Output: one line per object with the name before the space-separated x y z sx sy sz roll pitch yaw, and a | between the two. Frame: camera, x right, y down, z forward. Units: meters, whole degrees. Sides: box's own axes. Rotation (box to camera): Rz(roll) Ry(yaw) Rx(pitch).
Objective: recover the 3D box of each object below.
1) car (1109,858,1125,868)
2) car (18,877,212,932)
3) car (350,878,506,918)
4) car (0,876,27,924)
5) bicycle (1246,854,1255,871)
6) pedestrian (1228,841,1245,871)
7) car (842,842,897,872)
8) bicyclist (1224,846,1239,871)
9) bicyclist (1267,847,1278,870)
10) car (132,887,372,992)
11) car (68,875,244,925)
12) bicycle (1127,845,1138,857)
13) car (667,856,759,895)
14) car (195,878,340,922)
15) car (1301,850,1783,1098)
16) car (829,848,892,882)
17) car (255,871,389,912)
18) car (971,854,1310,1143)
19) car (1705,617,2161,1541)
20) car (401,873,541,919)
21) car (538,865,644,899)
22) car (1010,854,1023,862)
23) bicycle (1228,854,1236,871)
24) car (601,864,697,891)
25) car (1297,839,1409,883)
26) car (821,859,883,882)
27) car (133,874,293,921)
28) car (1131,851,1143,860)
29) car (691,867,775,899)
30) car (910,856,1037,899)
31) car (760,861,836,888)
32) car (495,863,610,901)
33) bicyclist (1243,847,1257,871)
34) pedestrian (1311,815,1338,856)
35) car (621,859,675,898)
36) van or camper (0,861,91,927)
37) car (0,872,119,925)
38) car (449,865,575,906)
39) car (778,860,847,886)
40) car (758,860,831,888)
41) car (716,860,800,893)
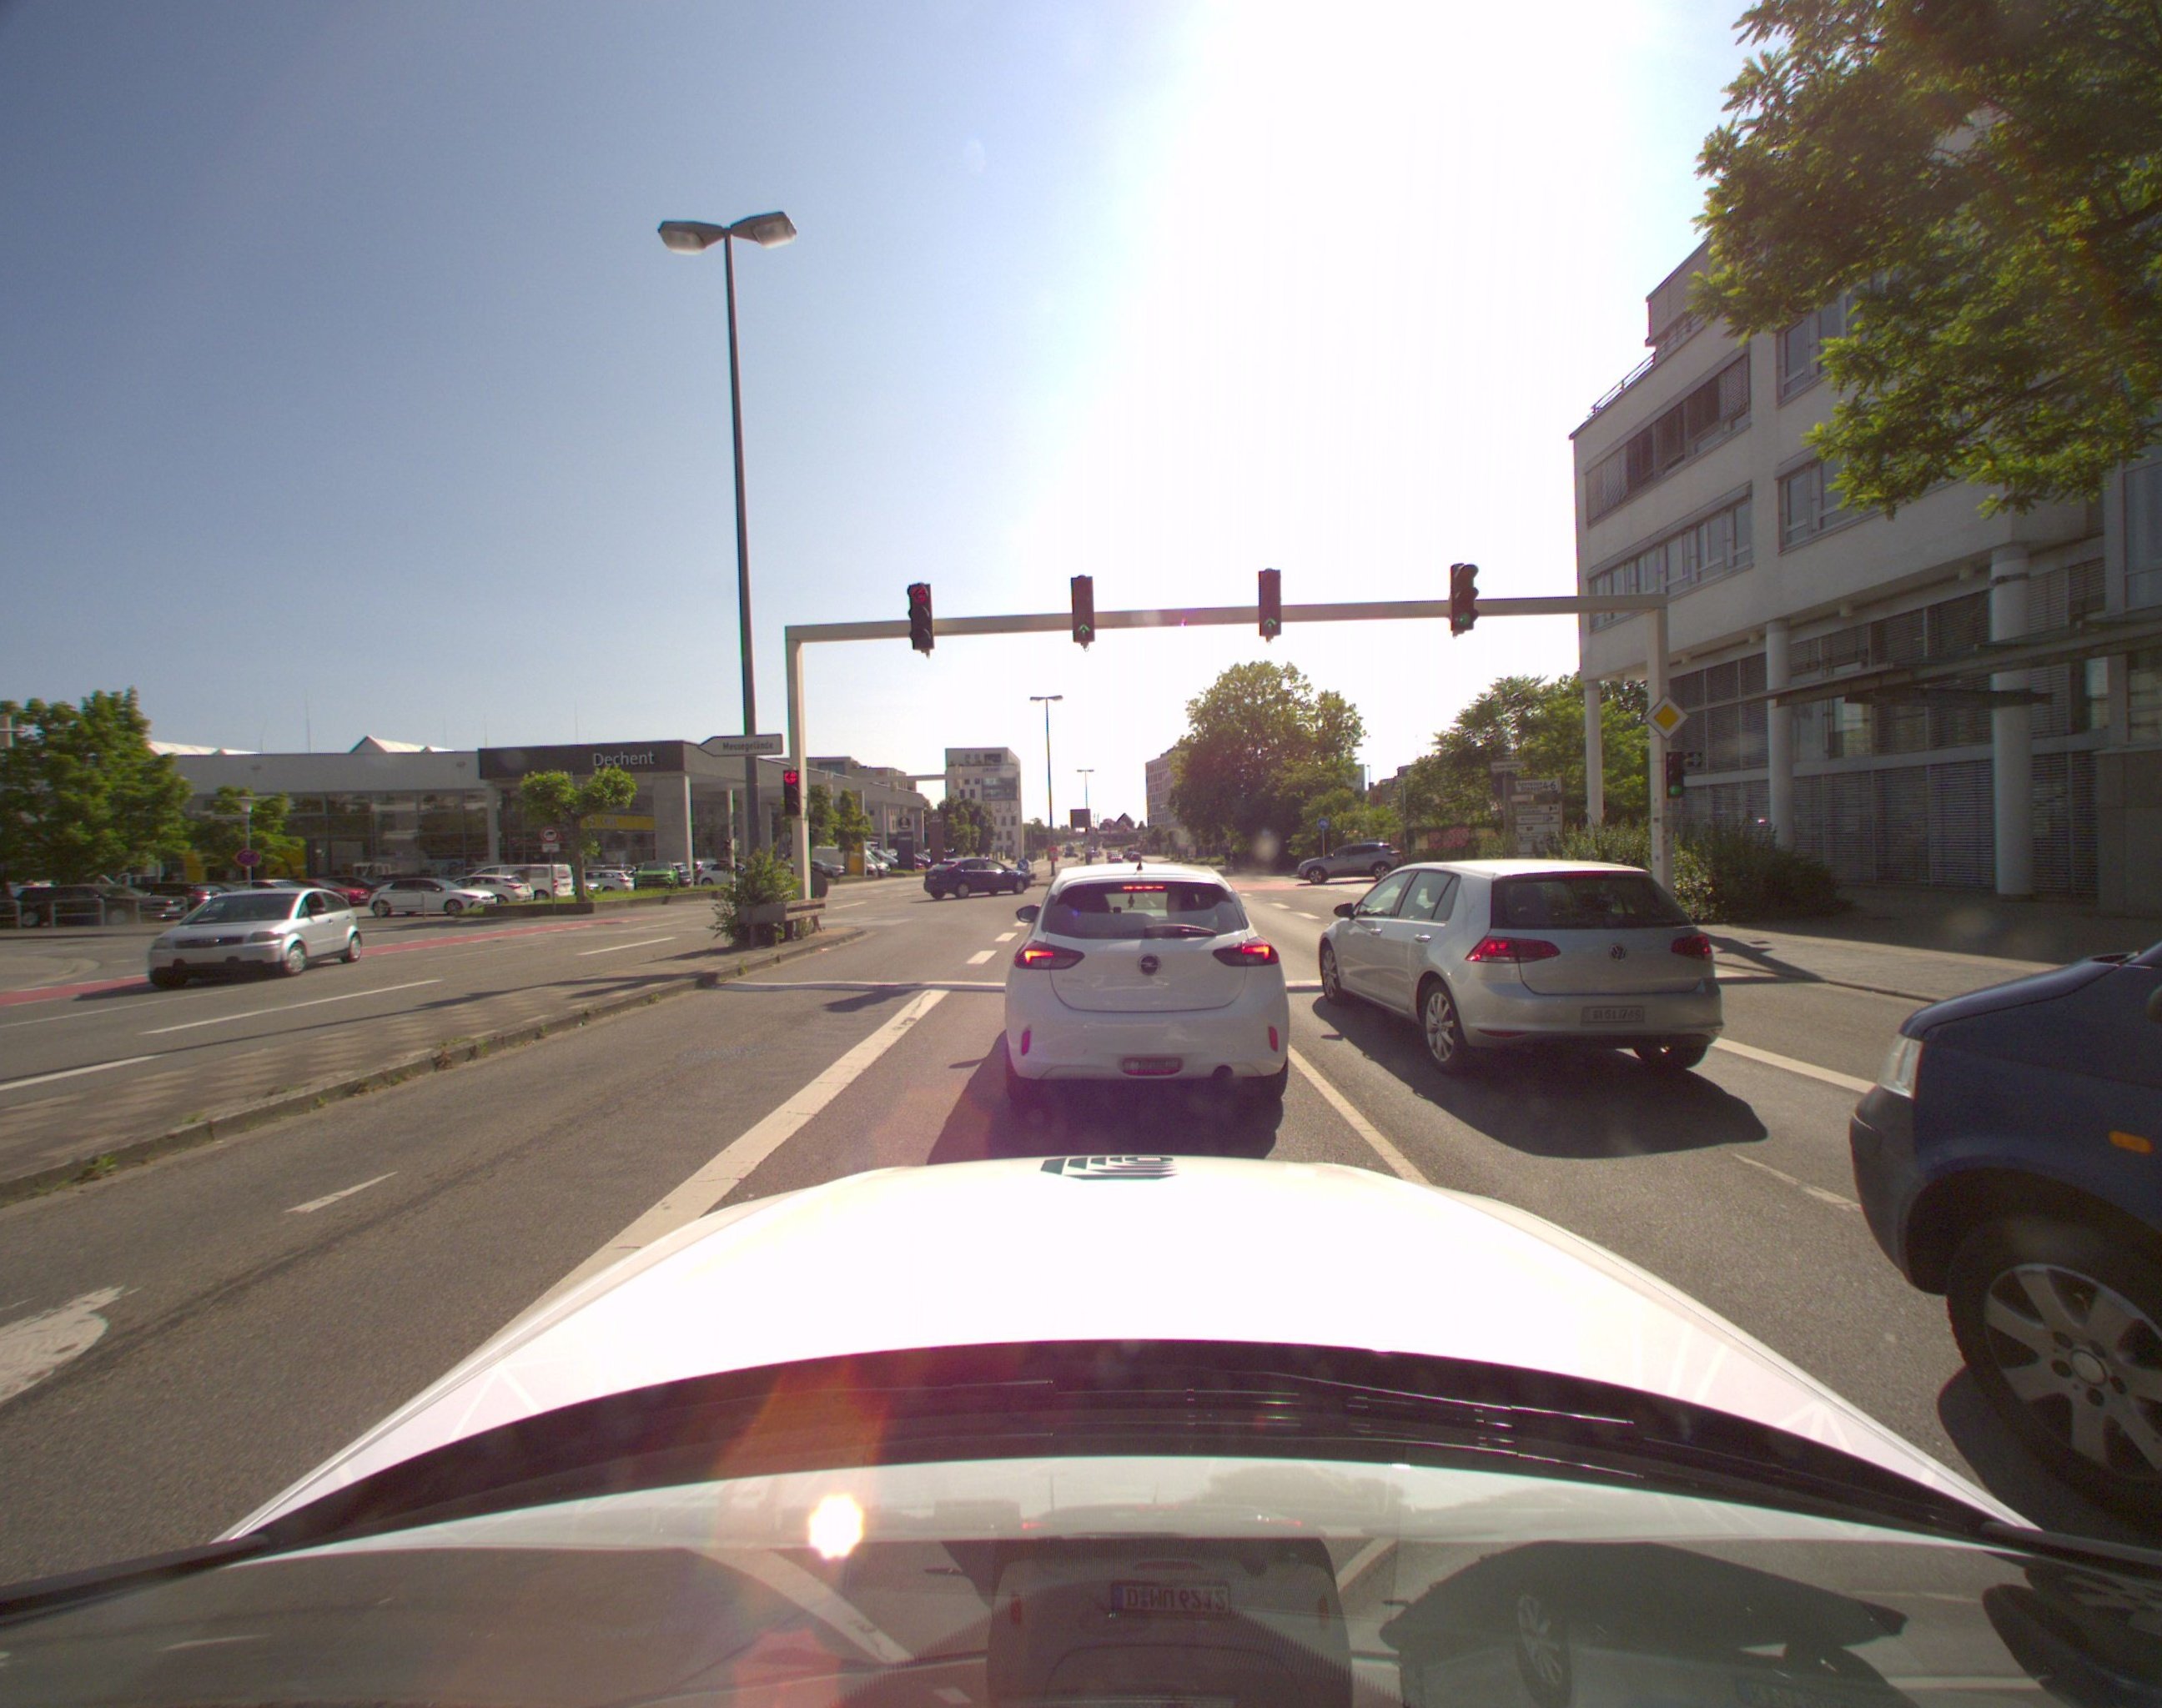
car | 4.975 1.212 113.154 1.987 1.331 3.998 0 -1 -1
car | -34.840 1.806 29.489 4.348 1.696 1.997 -2 0 -4
car | -25.439 1.697 31.859 4.348 1.300 1.997 -2 0 -4
car | -40.609 1.707 28.322 4.371 1.696 1.987 -2 0 -20
bicycle | 11.992 0.600 57.553 0.372 1.147 1.034 0 -1 0
pedestrian | 11.903 0.174 62.320 1.023 2.238 1.039 -2 0 1
car | -19.102 0.267 73.678 4.334 2.601 2.004 -2 0 6
bicyclist | 10.790 0.309 58.508 0.876 1.772 0.864 -2 0 1
bicyclist | 13.718 0.314 58.316 0.650 1.637 0.660 0 -1 2
car | -14.598 1.398 14.655 1.781 1.438 3.882 -2 0 -26
car | -36.207 1.767 31.984 4.348 1.696 1.997 -2 0 -4
bicycle | 9.847 -0.518 155.540 1.986 2.157 4.001 -2 0 1
car | -19.263 1.091 42.769 3.859 1.837 1.999 -2 0 -1
car | -36.849 2.066 36.989 4.348 1.696 1.997 -2 0 -4
car | 3.319 0.740 6.907 1.801 1.429 4.000 -2 -1 0
car | -18.476 0.936 68.344 4.469 2.684 2.134 -2 0 10
car | -36.623 1.776 39.404 4.352 1.696 1.995 -2 0 -7
car | 0.377 0.780 6.378 1.773 1.494 4.001 -2 0 2
car | 3.218 0.442 0.488 1.986 1.948 4.892 -2 -1 2
car | -26.170 1.774 35.053 4.348 1.696 1.997 -2 0 -4
car | -26.161 1.494 43.576 4.352 1.591 1.996 -2 0 -7
car | -11.248 0.665 142.640 1.799 1.386 4.001 0 -1 2
bicycle | 10.824 0.587 58.508 0.371 1.216 1.154 0 0 2
car | -24.707 1.372 46.670 4.352 1.268 1.995 -3 -2 -7
car | 11.844 0.301 35.447 4.381 1.551 2.011 -5 -1 21
car | -18.510 1.335 65.892 4.334 1.696 2.004 -2 0 6
car | -36.368 1.806 34.233 4.348 1.696 1.997 -2 0 -4
car | 9.222 0.273 135.265 1.799 1.386 4.001 0 -1 2
car | -19.977 1.647 46.871 3.981 1.599 1.996 -2 0 -6
car | -3.995 0.833 30.734 4.395 1.447 1.975 -1 0 -43
car | -18.987 1.350 54.699 4.343 1.696 1.999 -2 0 -1
car | -26.565 1.378 41.092 4.353 1.696 1.995 -2 0 -7
bicyclist | 11.956 0.352 57.583 0.687 1.643 0.775 -2 0 -7
pedestrian | 12.382 -0.934 41.400 1.023 2.013 1.039 -2 0 1
car | -21.257 1.216 39.947 1.915 1.733 3.258 -2 -1 -35
van or camper | -41.950 1.573 31.330 4.711 2.400 1.995 -2 0 -8
car | -43.166 1.822 33.688 3.984 2.013 1.995 -2 0 -8
car | -26.554 1.440 38.156 4.353 1.696 1.995 -2 0 -7
car | -19.790 1.410 60.150 4.344 1.696 1.999 -2 0 -1
car | -20.031 1.380 56.998 4.344 1.696 1.999 -2 0 -1
car | -19.606 1.347 49.573 4.284 1.765 1.999 -2 0 -1
